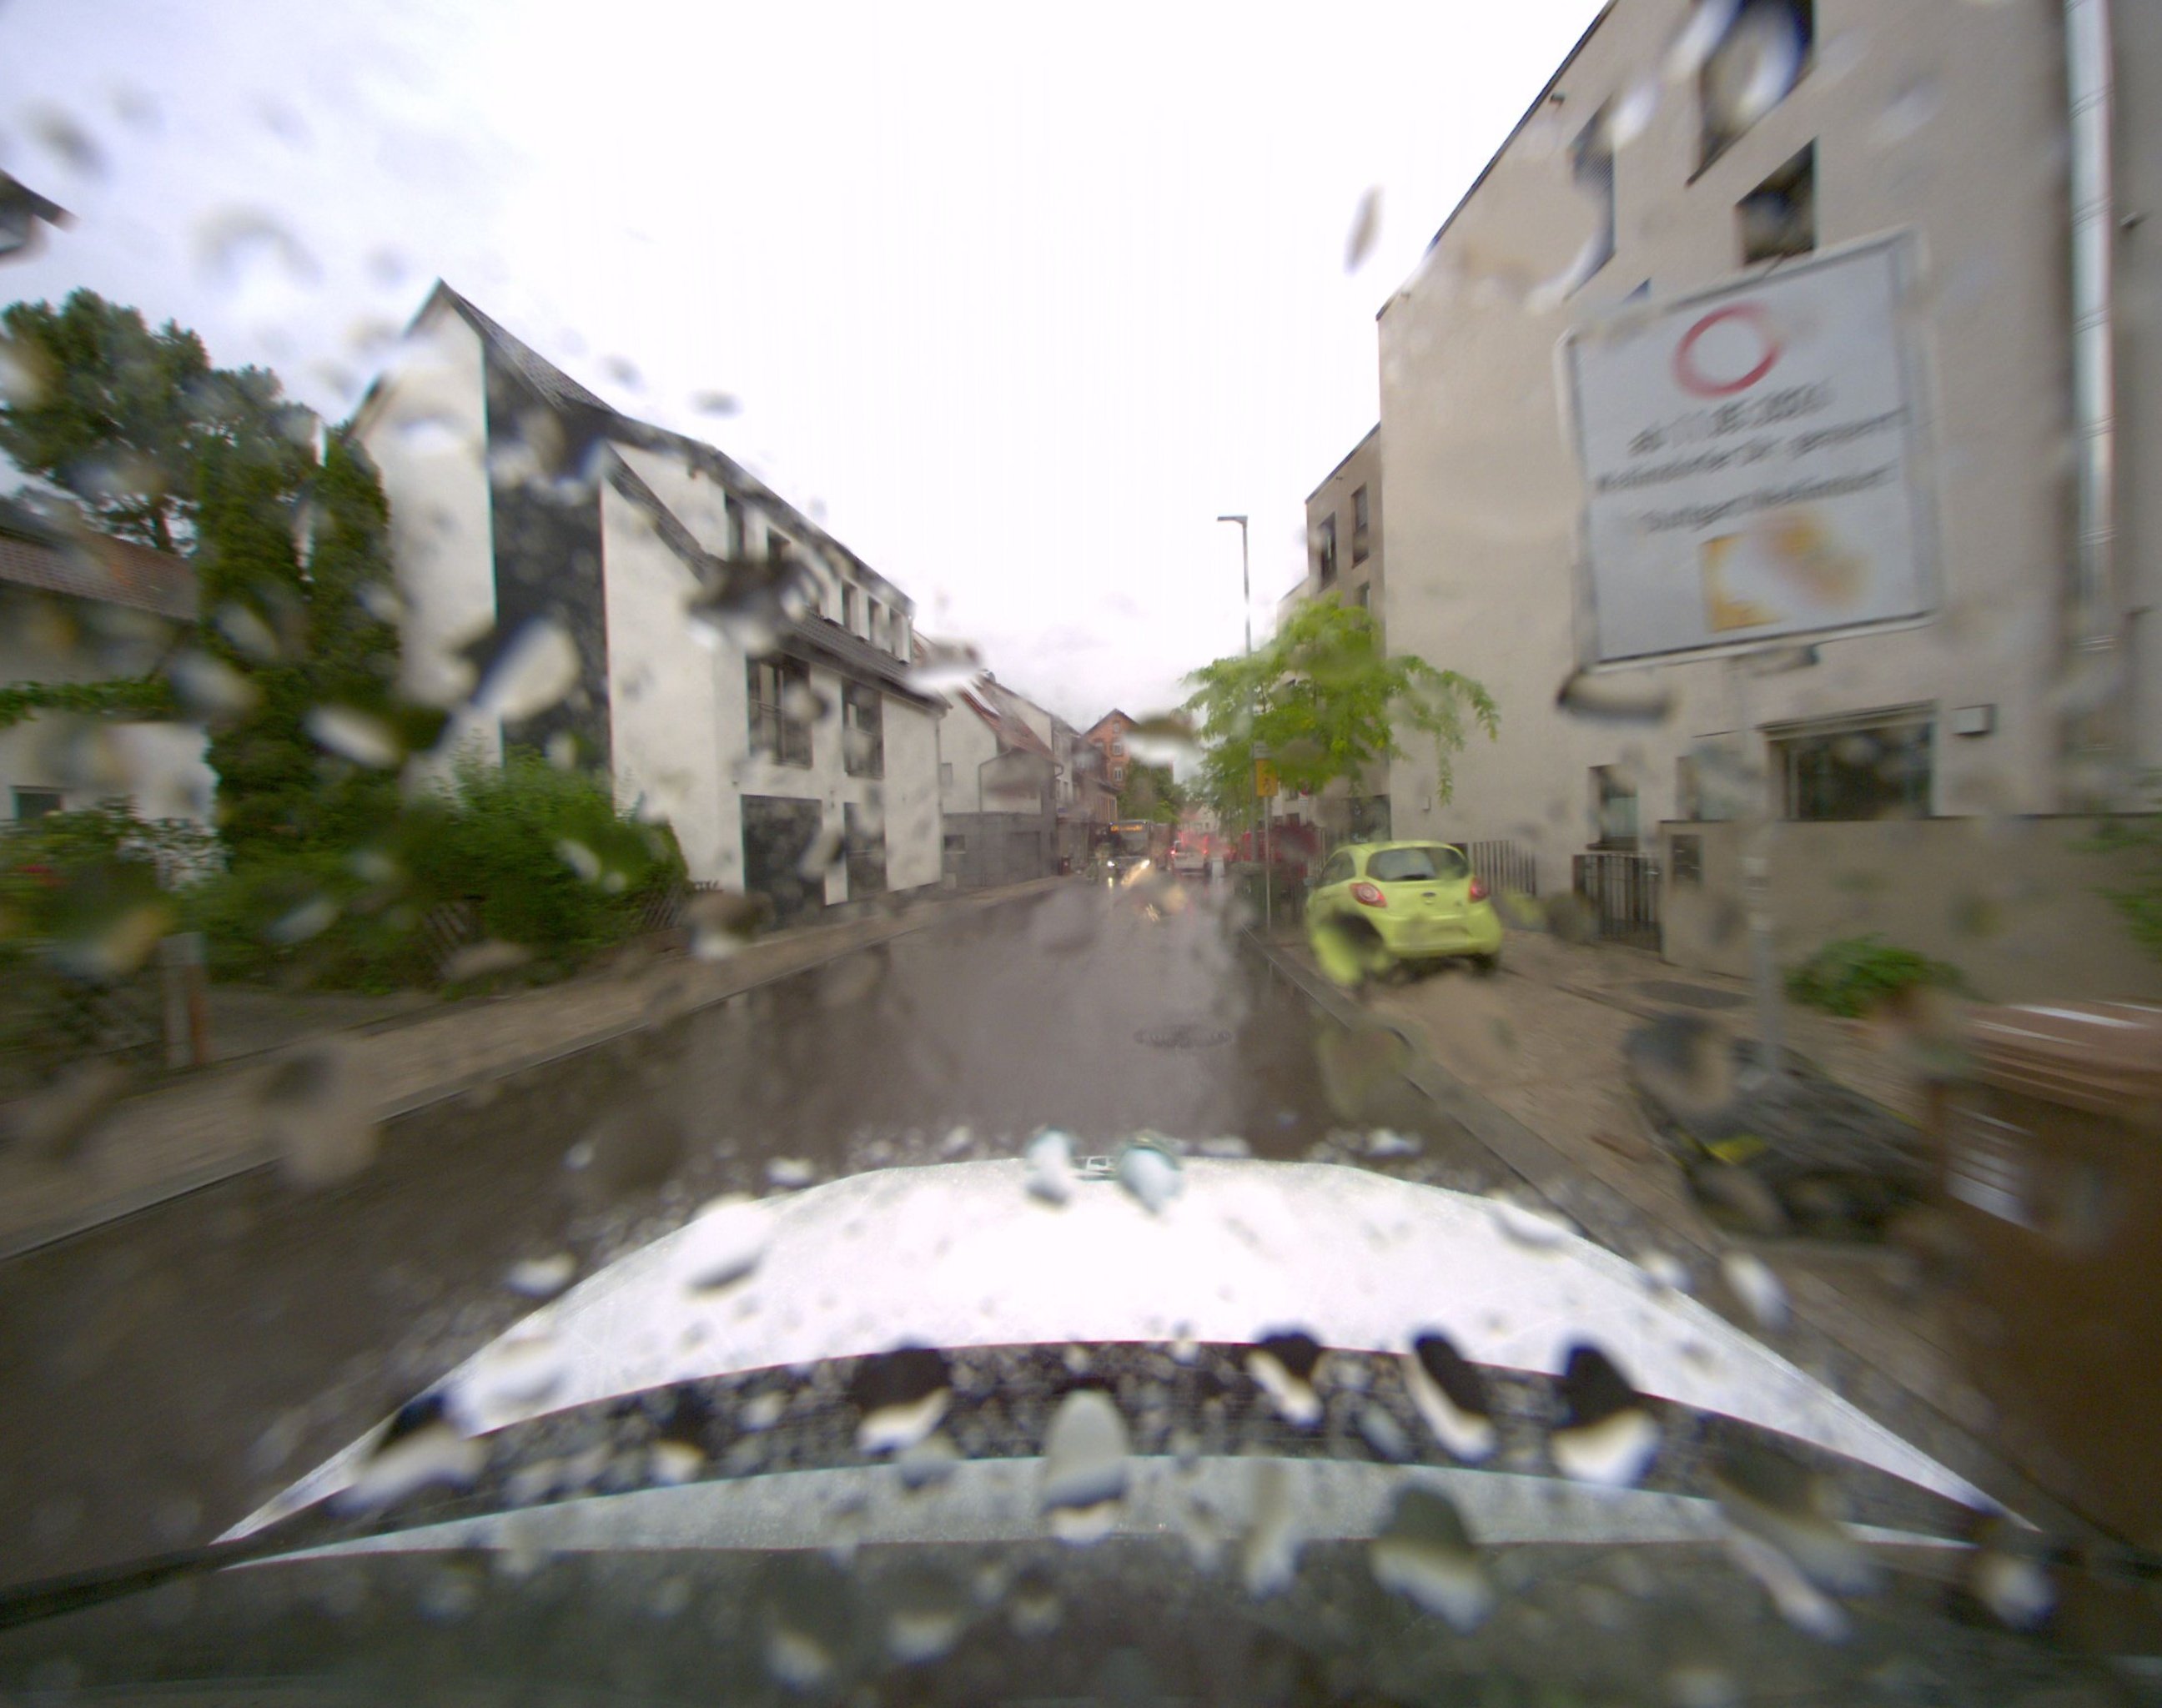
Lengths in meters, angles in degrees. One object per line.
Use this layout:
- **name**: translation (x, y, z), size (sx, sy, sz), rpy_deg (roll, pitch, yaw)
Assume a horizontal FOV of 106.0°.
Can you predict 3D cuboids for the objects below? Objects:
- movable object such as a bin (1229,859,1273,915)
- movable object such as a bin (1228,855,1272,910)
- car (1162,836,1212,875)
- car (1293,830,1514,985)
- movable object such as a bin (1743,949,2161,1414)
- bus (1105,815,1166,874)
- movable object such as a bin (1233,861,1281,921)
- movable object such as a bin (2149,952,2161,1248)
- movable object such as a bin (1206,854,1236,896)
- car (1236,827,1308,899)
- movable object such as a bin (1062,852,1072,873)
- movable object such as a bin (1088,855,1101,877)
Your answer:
- **movable object such as a bin**: translation (3.558, 0.684, 17.148), size (0.806, 1.109, 0.988), rpy_deg (-2, 0, 7)
- **movable object such as a bin**: translation (3.574, 0.592, 17.249), size (0.806, 1.109, 0.988), rpy_deg (-2, 0, 7)
- **car**: translation (5.627, 0.060, 42.917), size (2.180, 1.851, 4.318), rpy_deg (-3, 0, 12)
- **car**: translation (3.736, 0.530, 10.028), size (1.595, 1.484, 3.306), rpy_deg (-4, 0, 5)
- **movable object such as a bin**: translation (2.383, 0.820, 2.221), size (0.703, 1.046, 0.518), rpy_deg (-2, 0, 6)
- **bus**: translation (3.461, -0.534, 49.389), size (2.723, 3.130, 9.258), rpy_deg (-2, 0, 9)
- **movable object such as a bin**: translation (3.437, 0.714, 15.996), size (0.806, 1.109, 0.988), rpy_deg (-2, 0, 7)
- **movable object such as a bin**: translation (2.430, 0.765, 0.792), size (0.764, 1.173, 1.542), rpy_deg (-2, 0, 3)
- **movable object such as a bin**: translation (4.086, 0.606, 23.771), size (0.805, 1.185, 0.989), rpy_deg (-2, 0, 10)
- **car**: translation (5.195, 0.226, 22.368), size (1.700, 1.762, 4.013), rpy_deg (-2, 0, 12)
- **movable object such as a bin**: translation (-0.754, 0.466, 44.873), size (0.516, 1.122, 0.636), rpy_deg (-2, 0, 1)
- **movable object such as a bin**: translation (0.722, 0.630, 43.505), size (0.630, 1.122, 0.520), rpy_deg (-2, 0, 5)
